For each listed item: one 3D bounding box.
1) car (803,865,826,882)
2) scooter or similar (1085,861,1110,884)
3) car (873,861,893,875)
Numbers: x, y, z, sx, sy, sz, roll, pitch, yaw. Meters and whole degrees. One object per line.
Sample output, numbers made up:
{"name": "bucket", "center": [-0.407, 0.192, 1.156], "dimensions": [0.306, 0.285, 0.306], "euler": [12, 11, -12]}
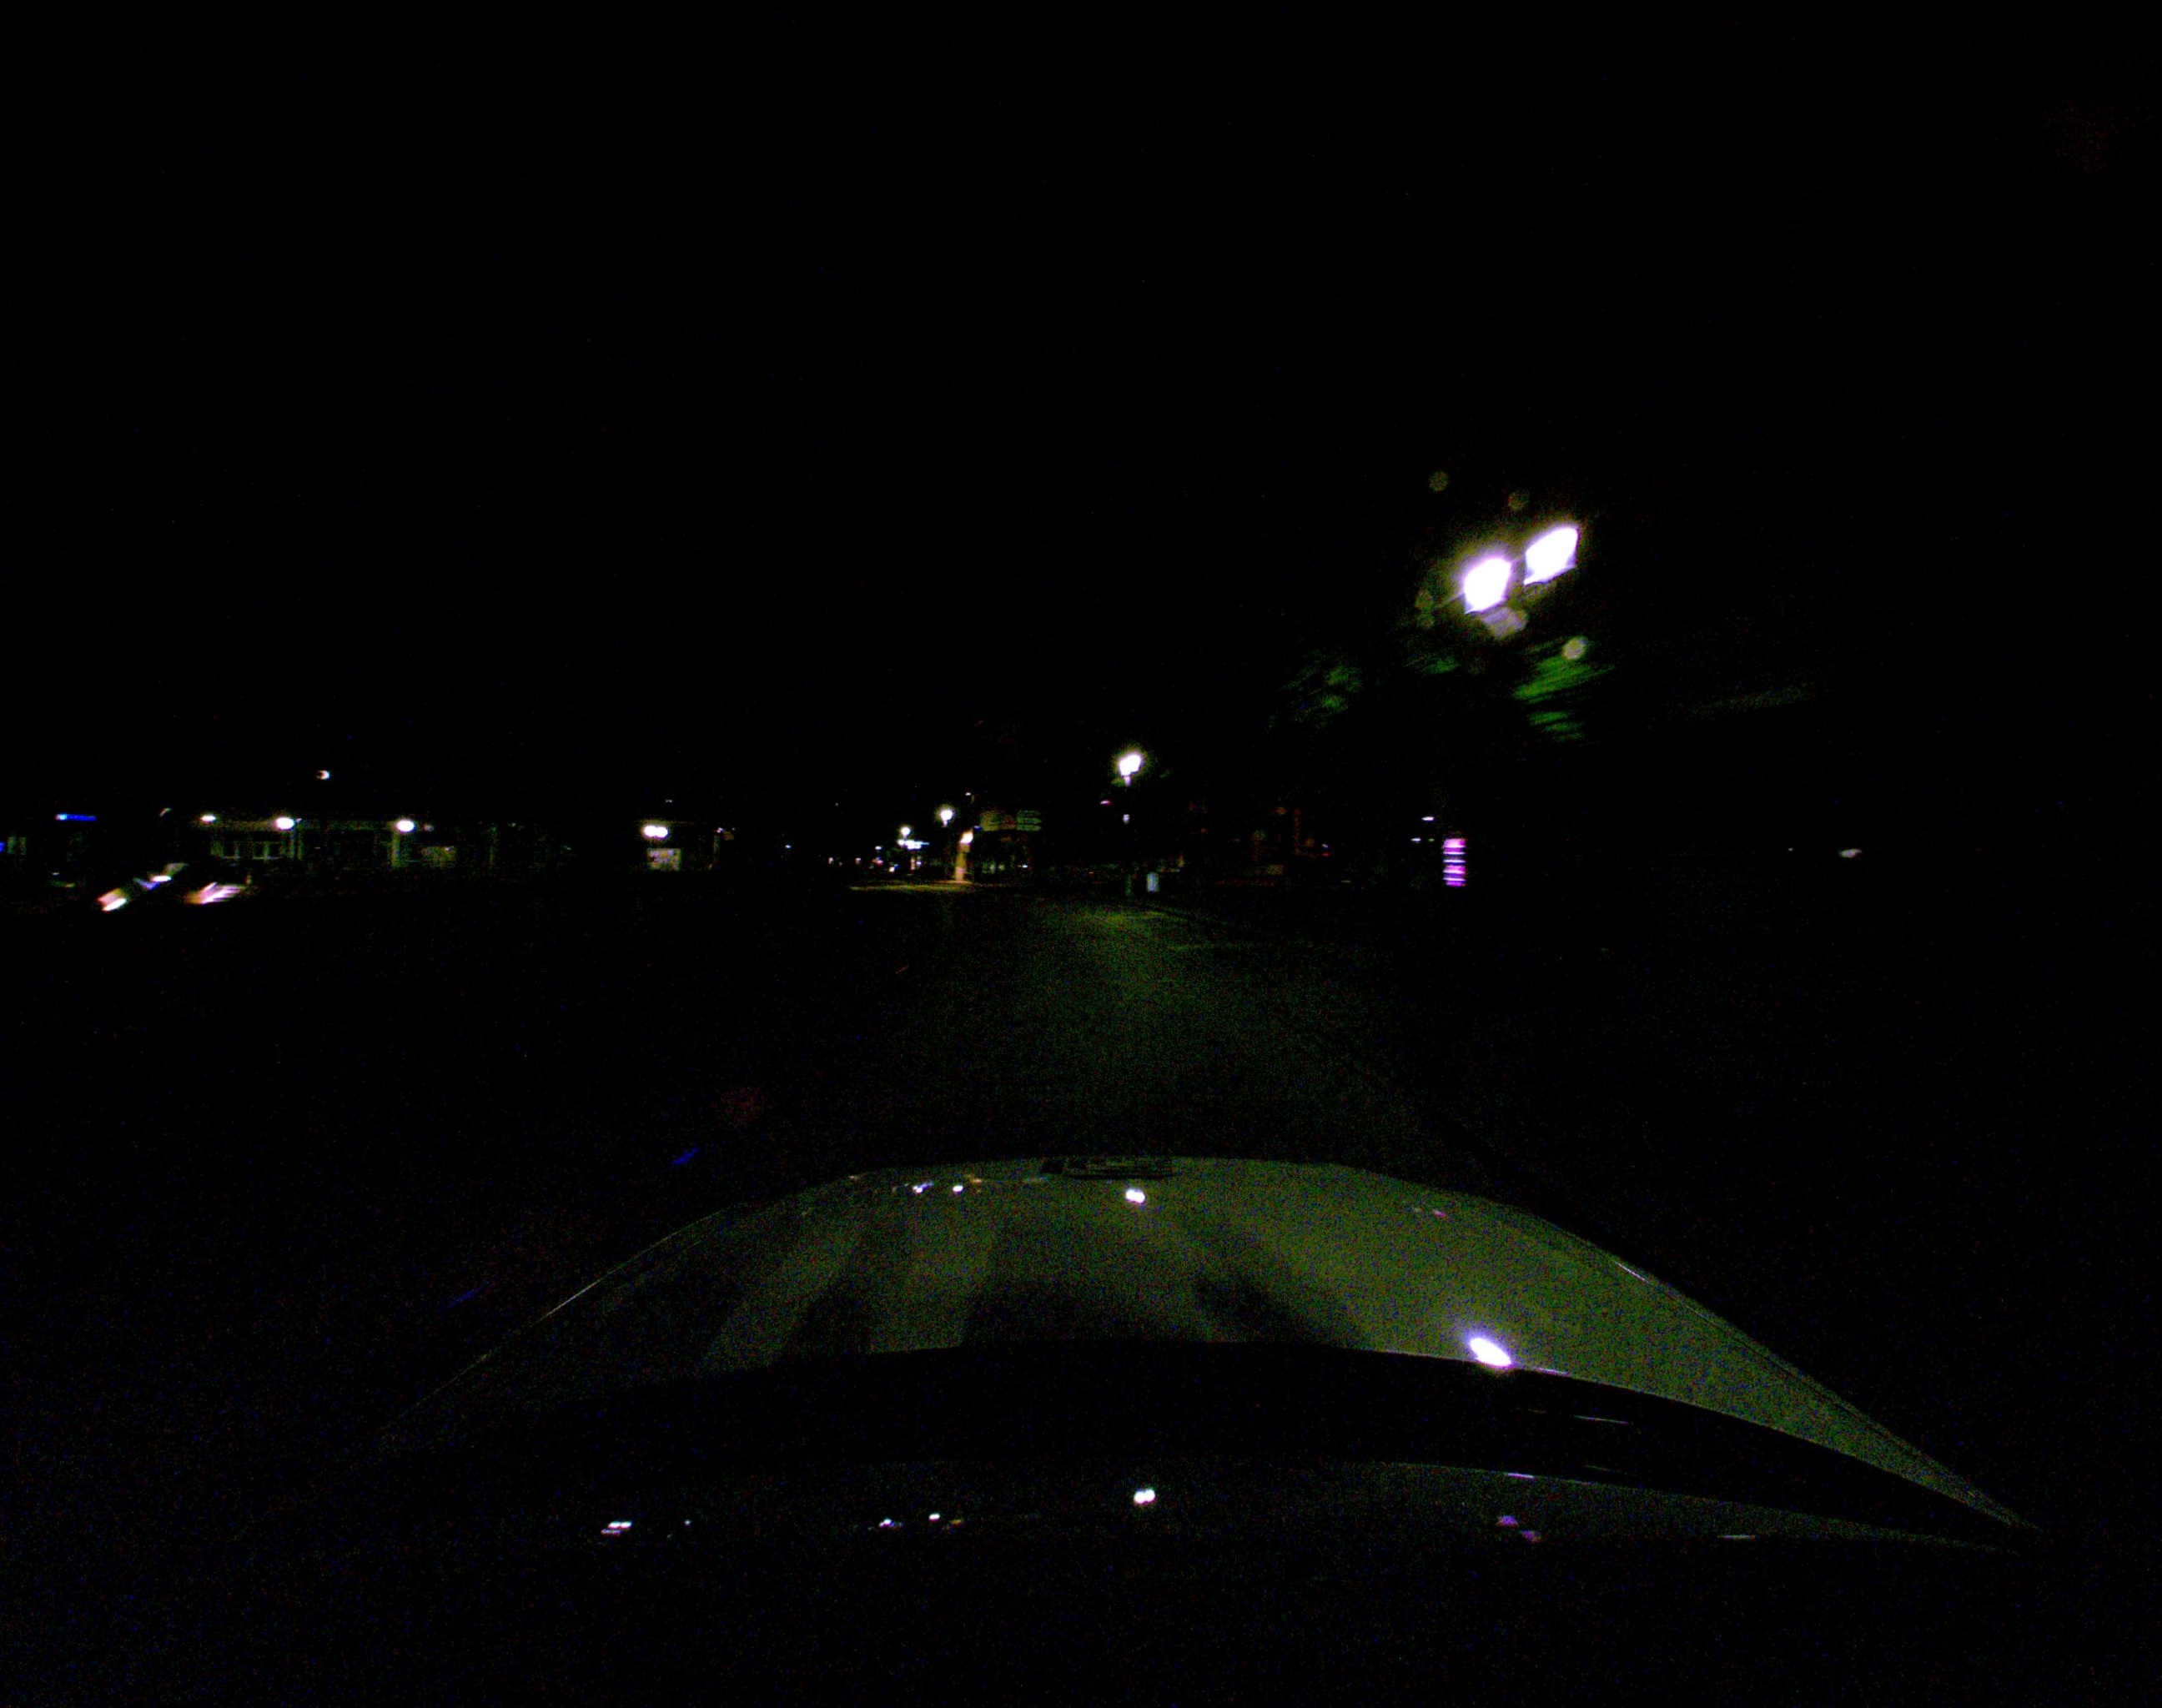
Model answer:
{"name": "car", "center": [-24.103, 1.755, 73.584], "dimensions": [1.840, 1.453, 3.974], "euler": [-2, -1, -19]}
{"name": "scooter or similar", "center": [0.888, 1.011, 44.226], "dimensions": [1.247, 1.227, 0.596], "euler": [1, 1, -13]}
{"name": "car", "center": [-23.036, 1.612, 94.586], "dimensions": [1.840, 1.358, 3.973], "euler": [-2, 1, -20]}
